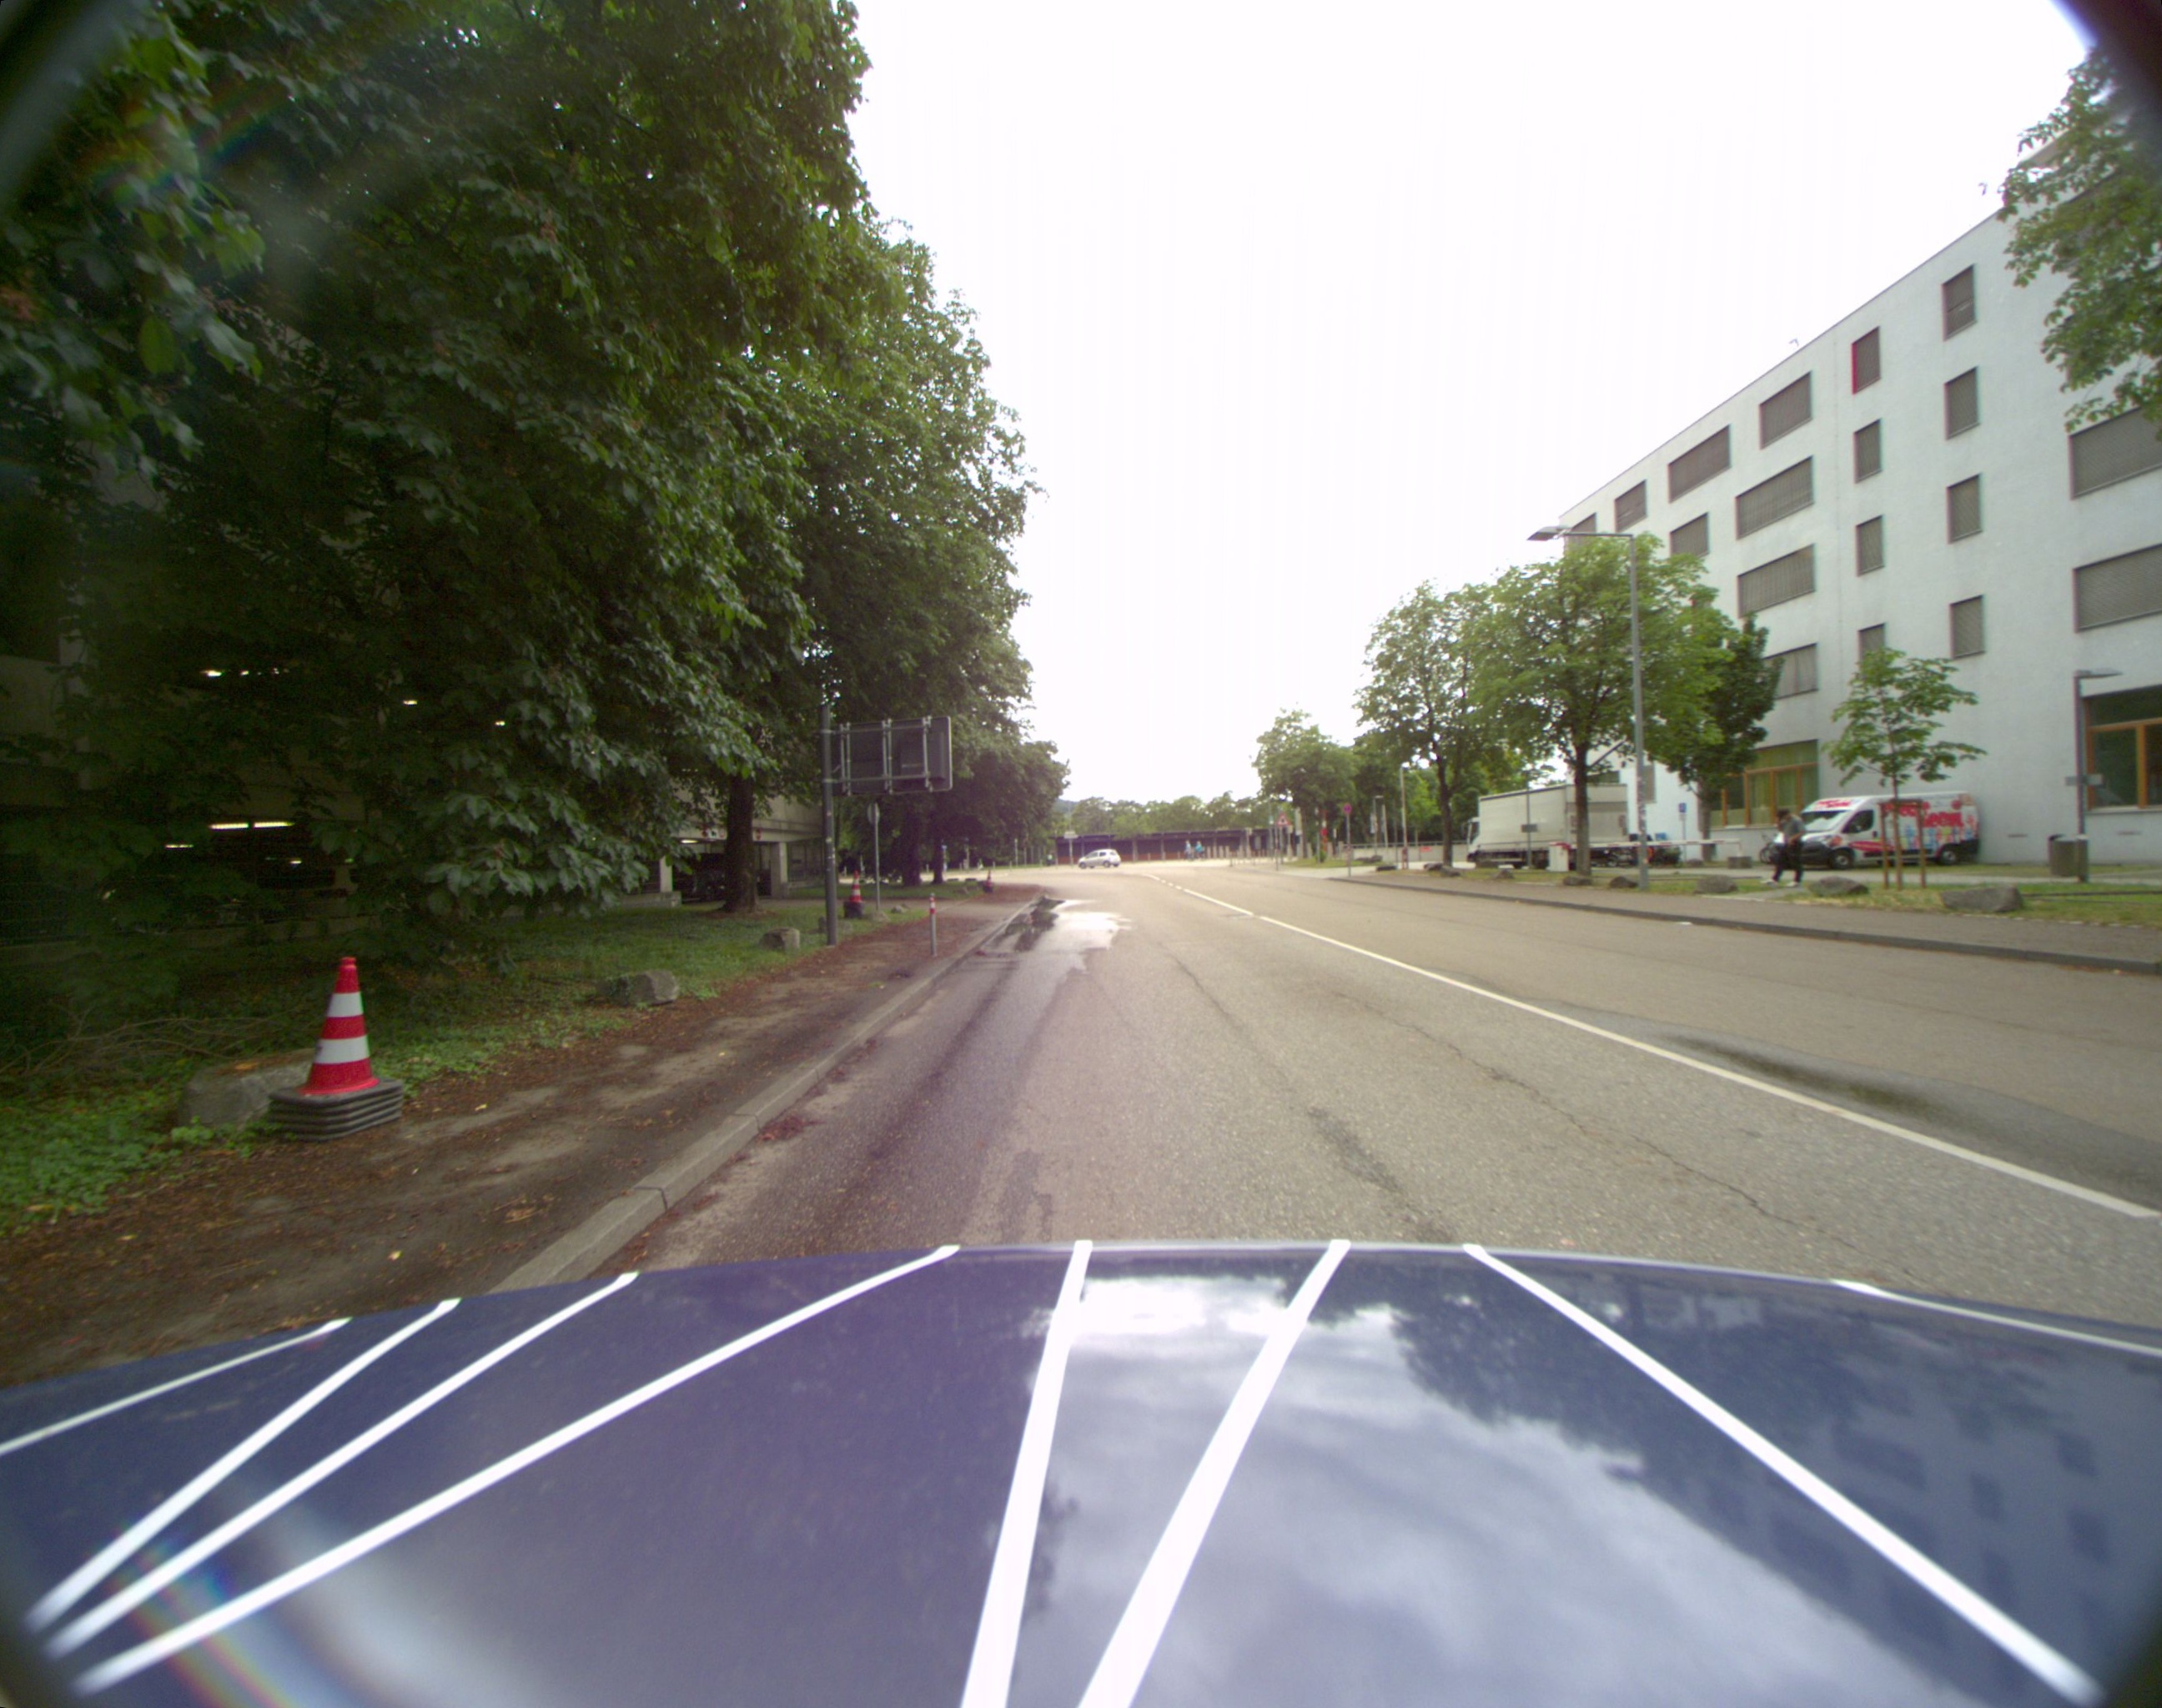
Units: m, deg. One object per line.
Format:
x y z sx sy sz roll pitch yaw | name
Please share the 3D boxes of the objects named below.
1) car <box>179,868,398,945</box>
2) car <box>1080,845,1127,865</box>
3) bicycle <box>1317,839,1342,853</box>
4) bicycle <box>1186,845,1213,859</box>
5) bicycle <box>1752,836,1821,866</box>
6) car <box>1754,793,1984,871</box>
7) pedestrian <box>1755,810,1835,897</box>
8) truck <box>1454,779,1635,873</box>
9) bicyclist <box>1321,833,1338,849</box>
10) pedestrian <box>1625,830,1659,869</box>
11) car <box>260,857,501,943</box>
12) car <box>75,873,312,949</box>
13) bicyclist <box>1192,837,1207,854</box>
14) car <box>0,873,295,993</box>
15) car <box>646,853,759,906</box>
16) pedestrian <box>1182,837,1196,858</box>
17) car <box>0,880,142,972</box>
-20.291 1.265 19.709 1.721 1.577 3.690 -3 1 -1 | car
1.859 0.105 63.610 3.495 1.448 1.609 -2 2 24 | car
23.194 -0.768 70.859 2.051 1.137 0.777 -3 3 -10 | bicycle
10.675 -0.161 68.294 2.257 1.117 0.748 -3 2 -3 | bicycle
27.592 -0.123 29.741 2.029 1.064 0.614 -3 2 4 | bicycle
26.573 -0.746 25.758 5.640 2.266 2.078 -3 2 0 | car
14.361 -0.022 15.300 0.845 1.662 0.786 -3 2 -5 | pedestrian
20.349 -1.188 34.138 2.684 3.580 8.361 -3 1 -2 | truck
23.166 -1.218 70.841 1.101 1.487 0.926 -3 3 -9 | bicyclist
23.468 -0.191 31.794 0.679 1.597 0.887 -3 2 -7 | pedestrian
-17.272 1.029 19.150 1.589 1.699 4.666 -3 1 1 | car
-22.775 1.394 19.756 1.721 1.537 3.700 -3 1 -1 | car
10.636 -0.752 68.270 1.159 1.422 0.742 -3 2 -3 | bicyclist
-17.474 1.342 14.117 1.589 1.699 3.856 -3 1 1 | car
-14.614 0.917 29.673 1.924 1.824 4.735 -3 0 0 | car
10.189 -0.629 71.756 1.200 1.824 0.927 -3 3 4 | pedestrian
-20.395 1.396 13.897 1.721 1.537 3.700 -3 1 -1 | car
